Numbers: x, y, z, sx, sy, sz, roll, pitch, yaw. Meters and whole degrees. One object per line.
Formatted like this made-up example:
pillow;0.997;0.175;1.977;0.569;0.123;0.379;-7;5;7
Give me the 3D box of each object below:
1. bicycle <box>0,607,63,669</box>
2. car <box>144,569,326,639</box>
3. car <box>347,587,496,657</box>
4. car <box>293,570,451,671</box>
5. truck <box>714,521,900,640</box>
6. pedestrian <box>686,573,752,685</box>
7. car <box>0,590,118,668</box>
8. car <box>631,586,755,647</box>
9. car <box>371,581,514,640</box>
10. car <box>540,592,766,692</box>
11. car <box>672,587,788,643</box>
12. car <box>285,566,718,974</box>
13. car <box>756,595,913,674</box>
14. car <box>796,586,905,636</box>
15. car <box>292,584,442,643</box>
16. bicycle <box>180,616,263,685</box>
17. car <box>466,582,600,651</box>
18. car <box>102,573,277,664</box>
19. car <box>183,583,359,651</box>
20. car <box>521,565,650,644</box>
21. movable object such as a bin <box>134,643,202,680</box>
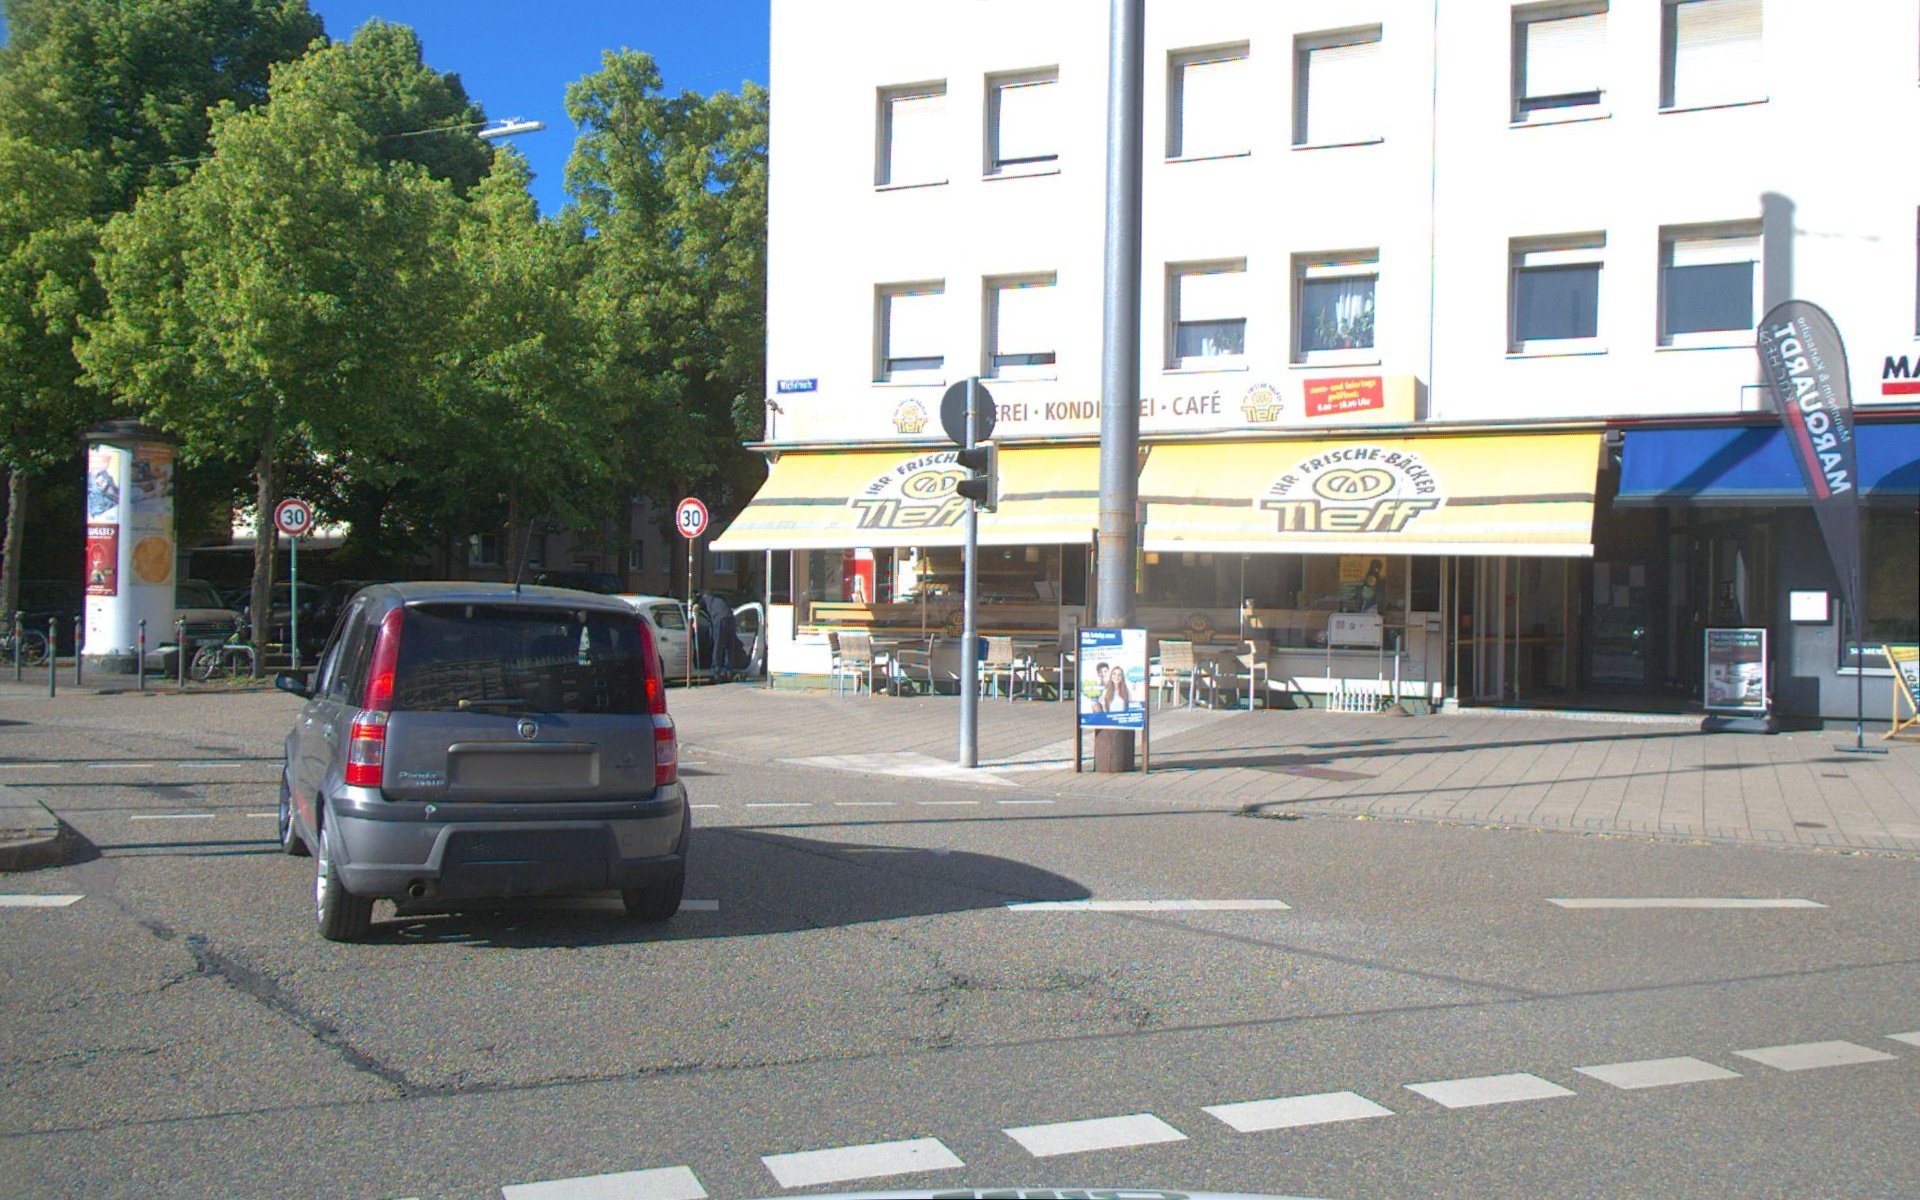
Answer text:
bicycle;-17.093;0.676;30.108;0.345;1.091;1.594;1;0;14
car;-18.386;0.094;42.152;1.718;1.669;4.246;1;0;22
car;-12.103;0.452;37.075;1.805;1.447;3.890;1;0;-41
car;-11.608;0.349;32.484;1.816;1.700;4.284;1;2;-35
truck;-4.761;-0.562;50.169;2.516;3.351;7.239;0;0;-34
pedestrian;-3.872;0.452;26.548;0.745;1.752;0.744;0;0;30
car;-19.649;0.572;33.620;1.865;1.545;4.298;1;0;24
car;-7.154;0.407;44.057;1.790;1.533;4.297;1;0;-31
car;-13.891;0.265;44.626;1.717;1.512;3.951;1;0;18
car;-5.022;0.644;27.560;1.685;1.523;4.020;1;0;25
car;-6.750;0.398;48.194;1.790;1.533;4.297;1;0;-31
car;-2.438;0.651;8.258;1.595;1.589;3.232;0;0;-25
car;-2.472;0.662;33.456;1.565;1.489;3.670;1;0;25
car;-3.586;0.337;53.611;1.826;1.529;3.953;1;0;-34
car;-16.718;0.362;46.807;1.719;1.597;3.947;1;0;25
bicycle;-12.252;0.824;27.472;0.345;1.091;1.594;1;0;14
car;-9.951;0.348;38.386;1.742;1.507;3.774;1;0;-37
car;-14.949;0.326;31.995;1.908;1.639;3.935;0;0;-44
car;-16.312;0.379;39.349;1.717;1.512;3.951;1;0;18
car;-9.651;0.081;42.376;1.910;1.906;4.455;1;0;-31
movable object such as a bin;-13.437;1.039;28.092;0.563;0.575;1.114;1;0;4
